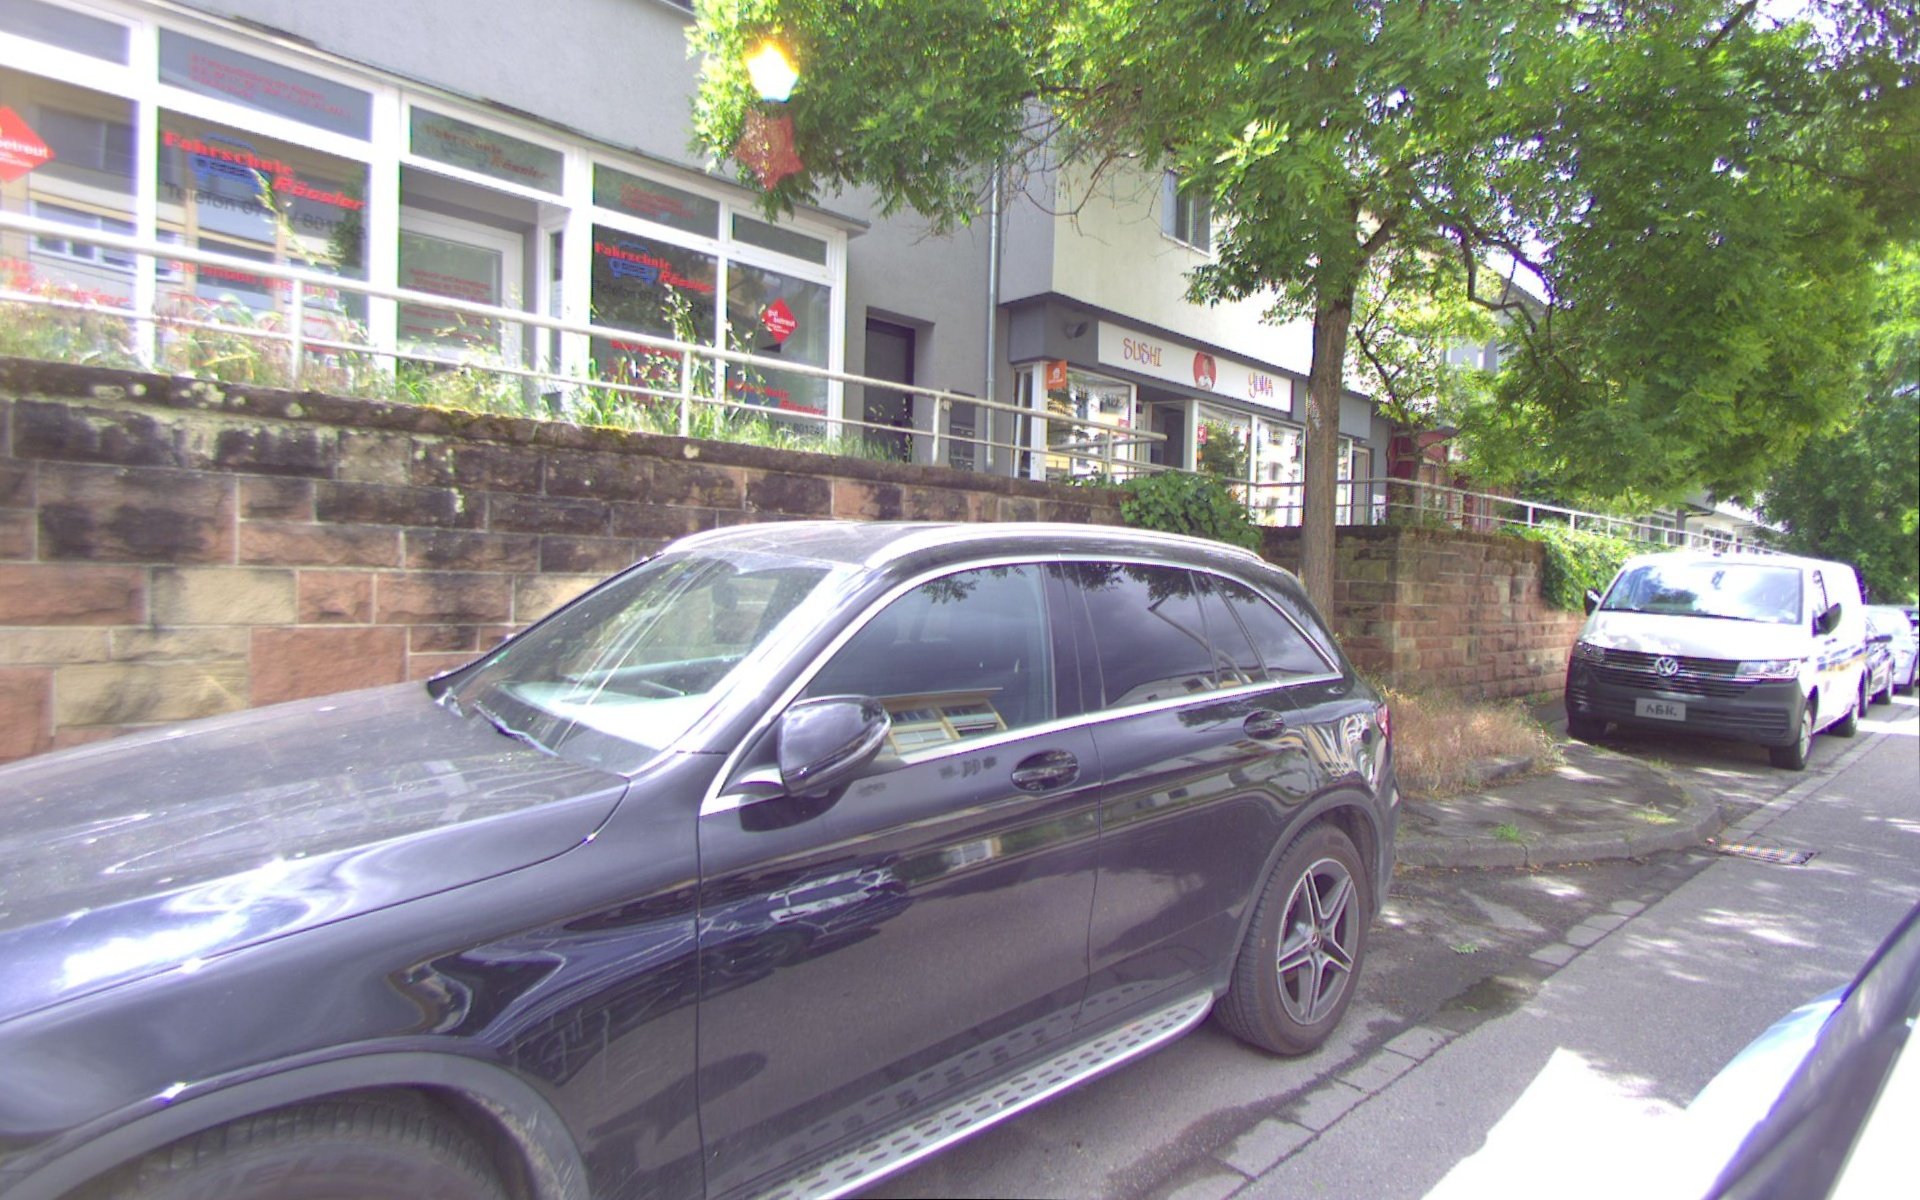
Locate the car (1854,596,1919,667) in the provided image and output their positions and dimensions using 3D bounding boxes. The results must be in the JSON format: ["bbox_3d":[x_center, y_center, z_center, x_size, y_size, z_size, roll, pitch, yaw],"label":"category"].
[{"bbox_3d":[21.416,0.681,22.481,4.075,1.446,1.784,0,2,-41],"label":"car"}]

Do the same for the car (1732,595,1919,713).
[{"bbox_3d":[12.549,0.674,14.565,3.669,1.446,1.577,0,2,-41],"label":"car"}]

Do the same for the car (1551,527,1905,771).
[{"bbox_3d":[8.213,0.356,10.621,4.925,1.994,1.977,0,2,-41],"label":"car"}]

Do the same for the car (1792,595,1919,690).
[{"bbox_3d":[16.193,0.670,17.897,4.076,1.446,1.782,0,2,-44],"label":"car"}]

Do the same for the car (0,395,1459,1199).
[{"bbox_3d":[-0.448,0.522,2.899,4.371,1.637,1.793,-1,4,-42],"label":"car"}]

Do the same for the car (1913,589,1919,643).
[{"bbox_3d":[32.338,0.521,32.824,4.078,1.674,1.816,0,2,-43],"label":"car"}]
